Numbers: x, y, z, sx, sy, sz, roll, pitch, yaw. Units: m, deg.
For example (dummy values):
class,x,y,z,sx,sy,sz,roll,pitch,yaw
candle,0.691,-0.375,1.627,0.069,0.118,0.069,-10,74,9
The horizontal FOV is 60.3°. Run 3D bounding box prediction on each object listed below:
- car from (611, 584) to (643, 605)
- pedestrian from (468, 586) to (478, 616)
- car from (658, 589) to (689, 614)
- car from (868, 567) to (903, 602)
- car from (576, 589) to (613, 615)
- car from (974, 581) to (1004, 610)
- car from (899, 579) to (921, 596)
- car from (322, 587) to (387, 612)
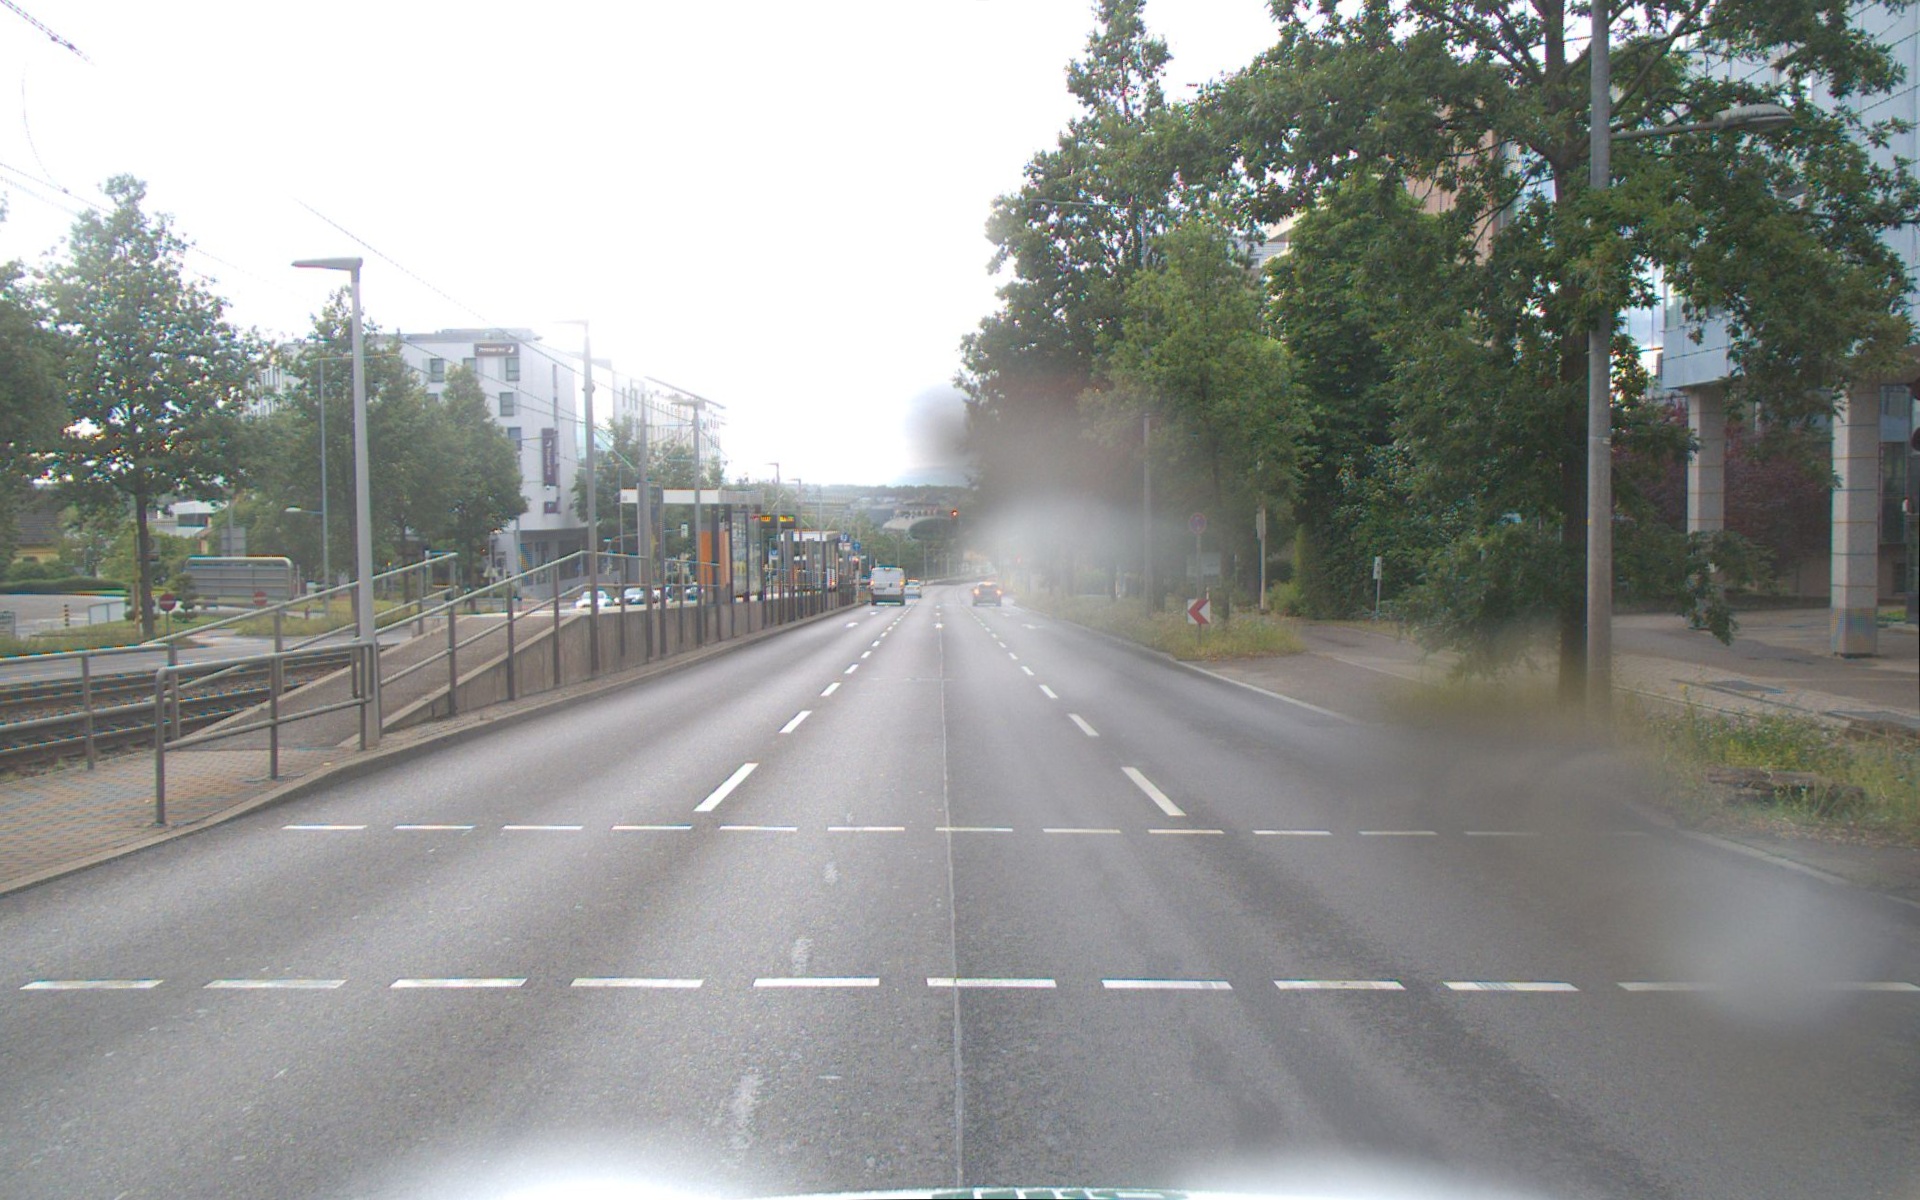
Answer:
class,x,y,z,sx,sy,sz,roll,pitch,yaw
car,-22.006,-0.380,109.354,1.536,1.402,3.517,0,1,-3
pedestrian,-31.998,0.083,108.695,0.465,1.954,0.490,0,0,-1
car,-18.067,0.101,104.168,1.622,1.461,3.866,-2,1,-14
car,-4.583,-0.975,102.360,2.050,2.089,4.605,0,1,-1
car,-22.250,0.099,100.785,1.618,1.461,3.877,-2,1,-4
car,1.793,-0.290,102.813,1.738,1.720,3.845,0,1,-1
car,-4.172,-1.056,138.275,1.747,1.414,3.999,0,1,-1
car,-34.893,-0.059,95.316,3.297,1.411,1.434,0,1,16
